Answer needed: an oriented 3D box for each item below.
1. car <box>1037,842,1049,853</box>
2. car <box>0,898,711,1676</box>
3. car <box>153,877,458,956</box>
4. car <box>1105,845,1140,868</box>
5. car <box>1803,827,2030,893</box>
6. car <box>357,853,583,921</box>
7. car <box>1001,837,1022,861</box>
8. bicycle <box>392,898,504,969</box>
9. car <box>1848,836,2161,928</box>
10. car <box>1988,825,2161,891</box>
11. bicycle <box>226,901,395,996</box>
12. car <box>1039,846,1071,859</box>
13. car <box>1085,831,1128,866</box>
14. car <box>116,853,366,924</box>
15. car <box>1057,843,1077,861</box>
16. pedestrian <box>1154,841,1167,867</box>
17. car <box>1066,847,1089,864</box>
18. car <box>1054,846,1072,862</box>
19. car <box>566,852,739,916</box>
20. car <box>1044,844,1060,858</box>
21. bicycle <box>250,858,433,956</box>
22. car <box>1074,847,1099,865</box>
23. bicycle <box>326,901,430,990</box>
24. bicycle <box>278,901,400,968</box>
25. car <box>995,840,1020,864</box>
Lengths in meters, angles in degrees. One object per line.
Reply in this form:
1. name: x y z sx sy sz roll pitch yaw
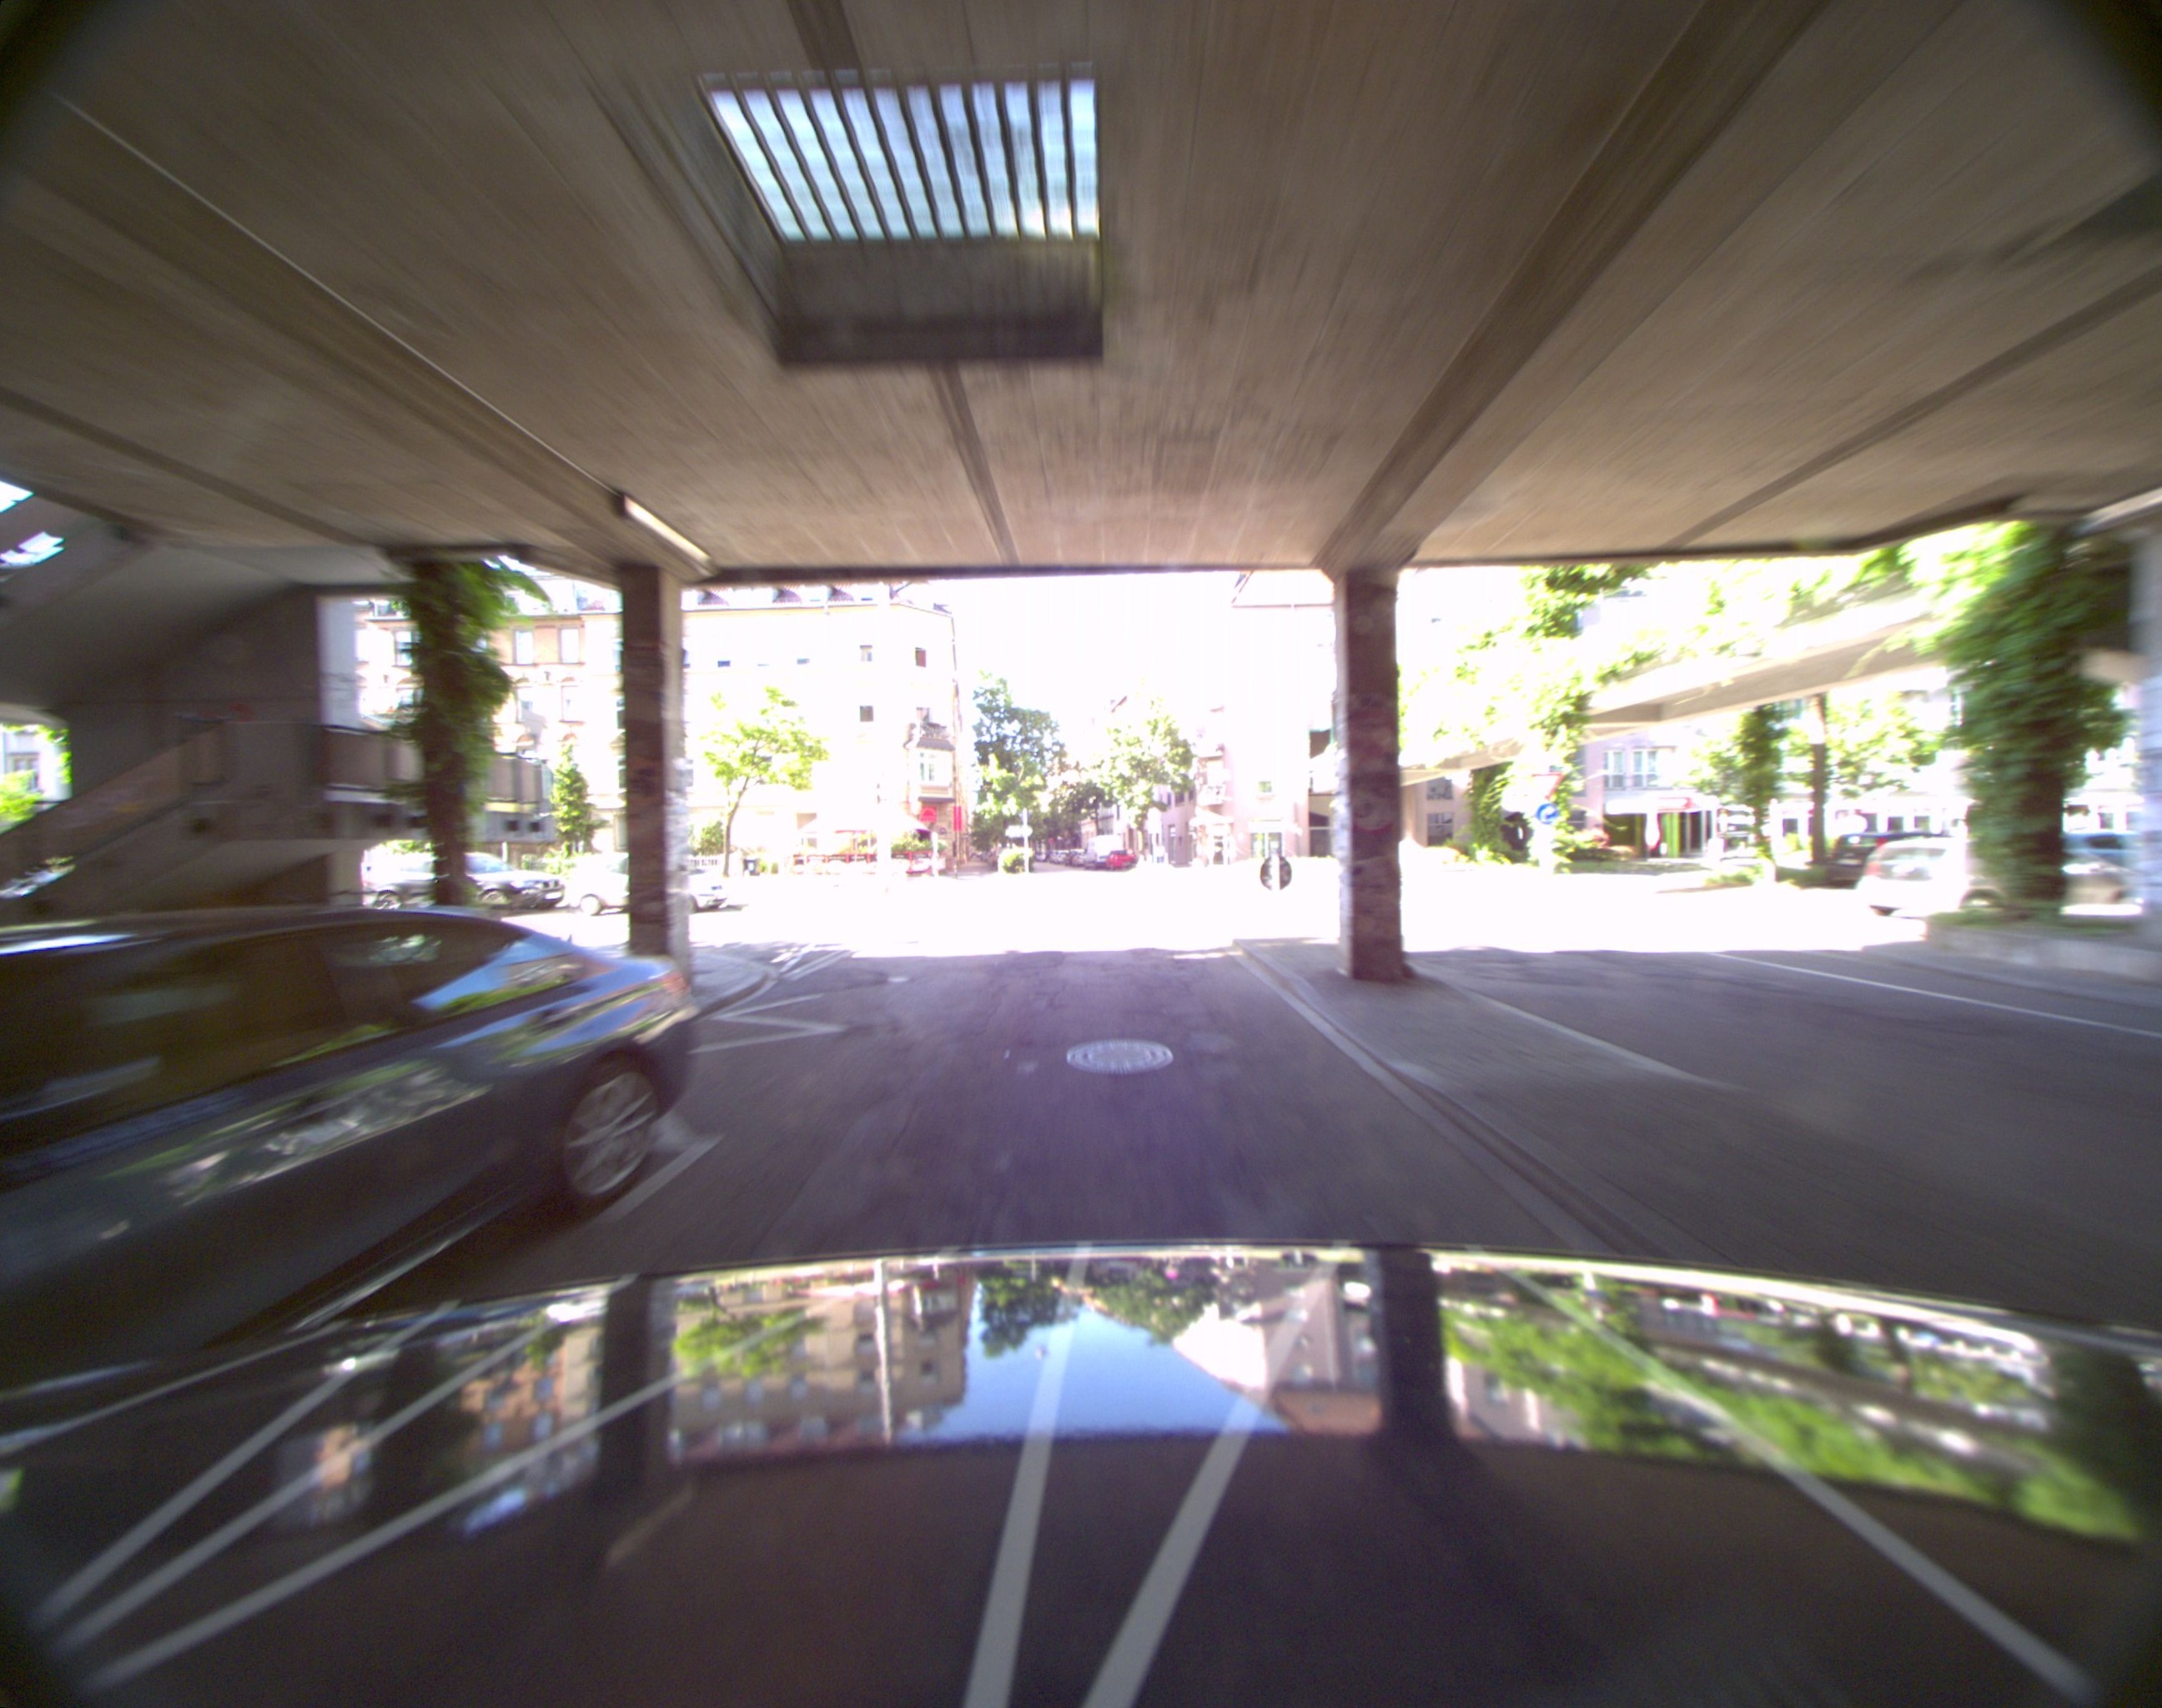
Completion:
1. car: -6.526 -1.139 129.281 1.777 1.871 3.997 -1 1 -6
2. car: -3.190 1.042 2.010 1.855 1.424 4.607 -3 1 4
3. car: -15.953 1.253 15.785 4.524 1.390 1.897 -1 2 4
4. car: 2.720 0.146 50.606 1.692 1.454 3.997 -1 1 -7
5. car: 21.327 0.116 19.523 3.776 1.530 1.745 -1 3 2
6. car: -16.110 0.845 20.203 4.500 1.618 1.874 -1 2 3
7. car: -8.499 -0.581 93.044 2.276 2.646 4.320 -1 -1 -9
8. bicycle: -9.645 1.189 11.568 1.798 1.024 0.416 -1 -2 18
9. car: 16.164 0.453 13.368 3.645 1.477 1.611 -1 1 1
10. car: 25.878 0.070 19.000 4.279 1.441 1.656 -1 4 0
11. bicycle: -9.526 1.119 9.491 0.415 0.995 1.801 0 -1 -5
12. car: -3.344 -0.178 98.263 3.999 1.576 1.817 -1 -2 -7
13. car: 1.797 -0.438 56.408 2.220 2.437 5.090 -1 1 -9
14. car: -22.337 0.890 20.346 4.526 1.653 1.894 -1 3 1
15. car: -1.569 -0.198 82.770 1.777 1.871 3.998 -1 0 -6
16. pedestrian: 4.727 0.004 45.302 0.632 1.567 0.532 0 2 27
17. car: -0.375 0.145 72.718 1.785 1.548 3.819 -1 1 -7
18. car: -2.204 -0.039 89.909 1.777 1.871 3.997 -1 1 -6
19. car: -11.230 0.762 20.084 3.529 1.510 1.724 -1 2 -1
20. car: -3.922 -0.457 102.602 1.777 1.871 3.997 -1 1 -6
21. bicycle: -8.356 0.549 8.701 0.484 0.995 1.801 0 0 -6
22. car: 0.430 0.182 67.700 1.695 1.548 3.819 -1 1 -7
23. bicycle: -9.144 1.144 9.944 0.416 0.995 1.615 0 -1 -21
24. bicycle: -11.579 1.236 11.859 1.799 0.995 0.416 -1 -2 11
25. car: -6.555 -0.132 67.376 1.997 2.017 4.301 -1 0 -8
